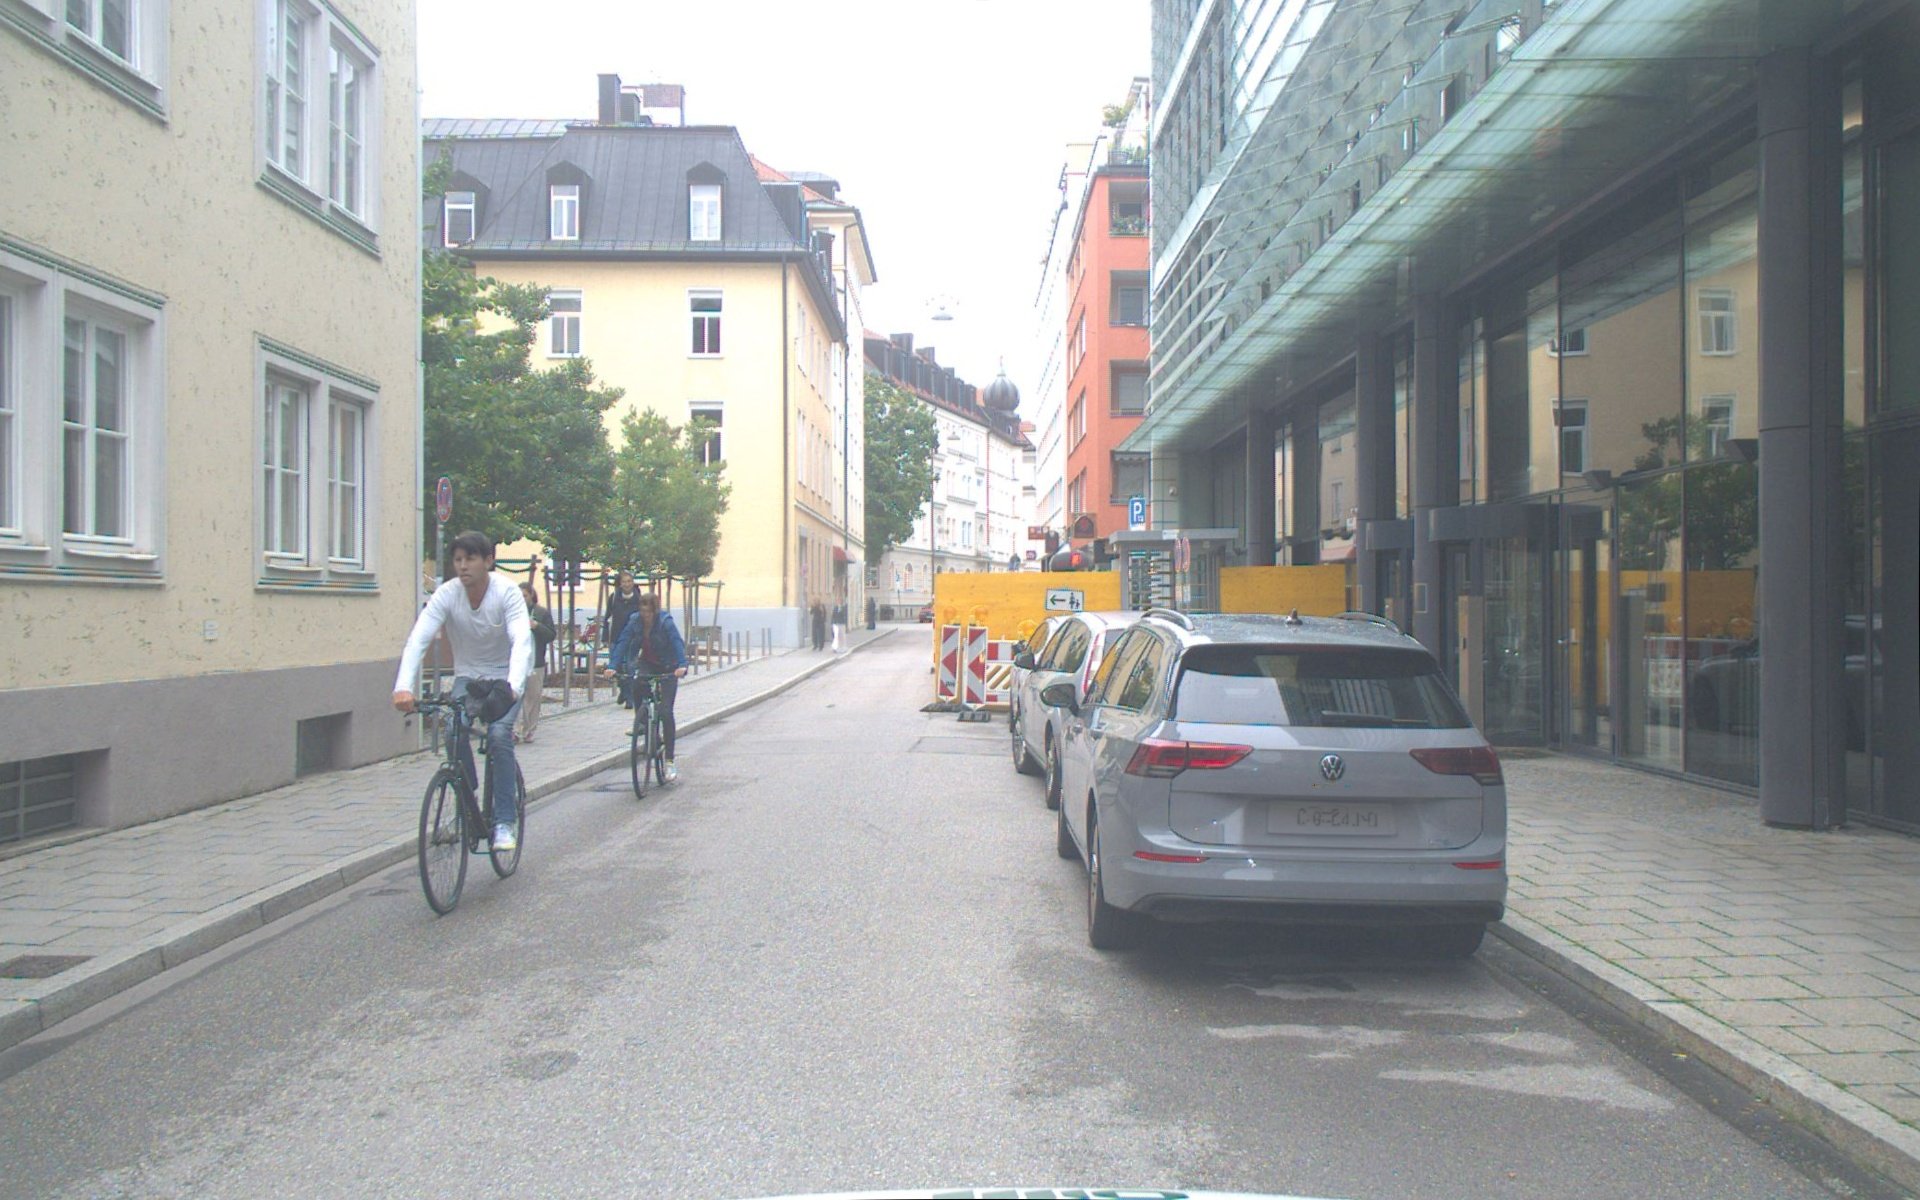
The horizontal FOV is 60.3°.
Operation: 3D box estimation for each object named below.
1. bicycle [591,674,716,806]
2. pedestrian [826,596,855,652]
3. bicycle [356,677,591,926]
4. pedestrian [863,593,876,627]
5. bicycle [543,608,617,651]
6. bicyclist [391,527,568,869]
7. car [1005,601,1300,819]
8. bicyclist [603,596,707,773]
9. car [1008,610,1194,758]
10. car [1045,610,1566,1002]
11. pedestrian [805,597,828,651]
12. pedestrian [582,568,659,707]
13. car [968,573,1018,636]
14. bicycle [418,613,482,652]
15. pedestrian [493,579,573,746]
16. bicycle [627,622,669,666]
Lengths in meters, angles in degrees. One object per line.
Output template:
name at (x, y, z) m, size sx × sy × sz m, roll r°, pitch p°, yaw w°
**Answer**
bicycle at (-2.470, 1.104, 13.515) m, size 0.693 × 0.921 × 1.809 m, roll -1°, pitch 0°, yaw -1°
pedestrian at (-3.748, 0.757, 51.849) m, size 0.822 × 1.730 × 0.803 m, roll 1°, pitch -1°, yaw -1°
bicycle at (-2.478, 0.980, 8.662) m, size 0.648 × 1.057 × 2.004 m, roll -1°, pitch 0°, yaw -1°
pedestrian at (-4.578, 0.525, 83.737) m, size 0.621 × 1.704 × 0.517 m, roll 1°, pitch 0°, yaw -1°
bicycle at (-10.954, 0.856, 47.733) m, size 2.000 × 1.218 × 0.570 m, roll 0°, pitch 0°, yaw 7°
bicyclist at (-2.472, 0.483, 8.588) m, size 0.646 × 1.672 × 0.895 m, roll -1°, pitch 0°, yaw -1°
car at (1.408, 0.787, 13.661) m, size 1.673 × 1.493 × 4.234 m, roll 1°, pitch -1°, yaw -4°
bicyclist at (-2.480, 0.668, 13.508) m, size 0.693 × 1.395 × 0.813 m, roll -1°, pitch 0°, yaw -1°
car at (1.483, 0.861, 18.820) m, size 1.673 × 1.439 × 4.509 m, roll 1°, pitch -1°, yaw 0°
car at (1.408, 0.784, 8.367) m, size 1.673 × 1.457 × 4.328 m, roll 0°, pitch 0°, yaw -1°
pedestrian at (-4.500, 0.741, 52.035) m, size 0.656 × 1.677 × 0.761 m, roll 1°, pitch -1°, yaw -1°
pedestrian at (-4.775, 0.522, 23.353) m, size 0.850 × 1.914 × 1.134 m, roll 1°, pitch -1°, yaw -1°
car at (1.396, 0.196, 70.949) m, size 1.953 × 2.581 × 4.974 m, roll 1°, pitch 0°, yaw -1°
bicycle at (-14.624, 0.923, 47.426) m, size 1.621 × 1.088 × 0.598 m, roll 1°, pitch 0°, yaw 3°
pedestrian at (-4.456, 0.639, 17.298) m, size 0.634 × 1.706 × 0.723 m, roll 1°, pitch -1°, yaw -1°
bicycle at (-8.591, 1.208, 45.566) m, size 0.499 × 1.164 × 2.054 m, roll 1°, pitch 0°, yaw 8°
